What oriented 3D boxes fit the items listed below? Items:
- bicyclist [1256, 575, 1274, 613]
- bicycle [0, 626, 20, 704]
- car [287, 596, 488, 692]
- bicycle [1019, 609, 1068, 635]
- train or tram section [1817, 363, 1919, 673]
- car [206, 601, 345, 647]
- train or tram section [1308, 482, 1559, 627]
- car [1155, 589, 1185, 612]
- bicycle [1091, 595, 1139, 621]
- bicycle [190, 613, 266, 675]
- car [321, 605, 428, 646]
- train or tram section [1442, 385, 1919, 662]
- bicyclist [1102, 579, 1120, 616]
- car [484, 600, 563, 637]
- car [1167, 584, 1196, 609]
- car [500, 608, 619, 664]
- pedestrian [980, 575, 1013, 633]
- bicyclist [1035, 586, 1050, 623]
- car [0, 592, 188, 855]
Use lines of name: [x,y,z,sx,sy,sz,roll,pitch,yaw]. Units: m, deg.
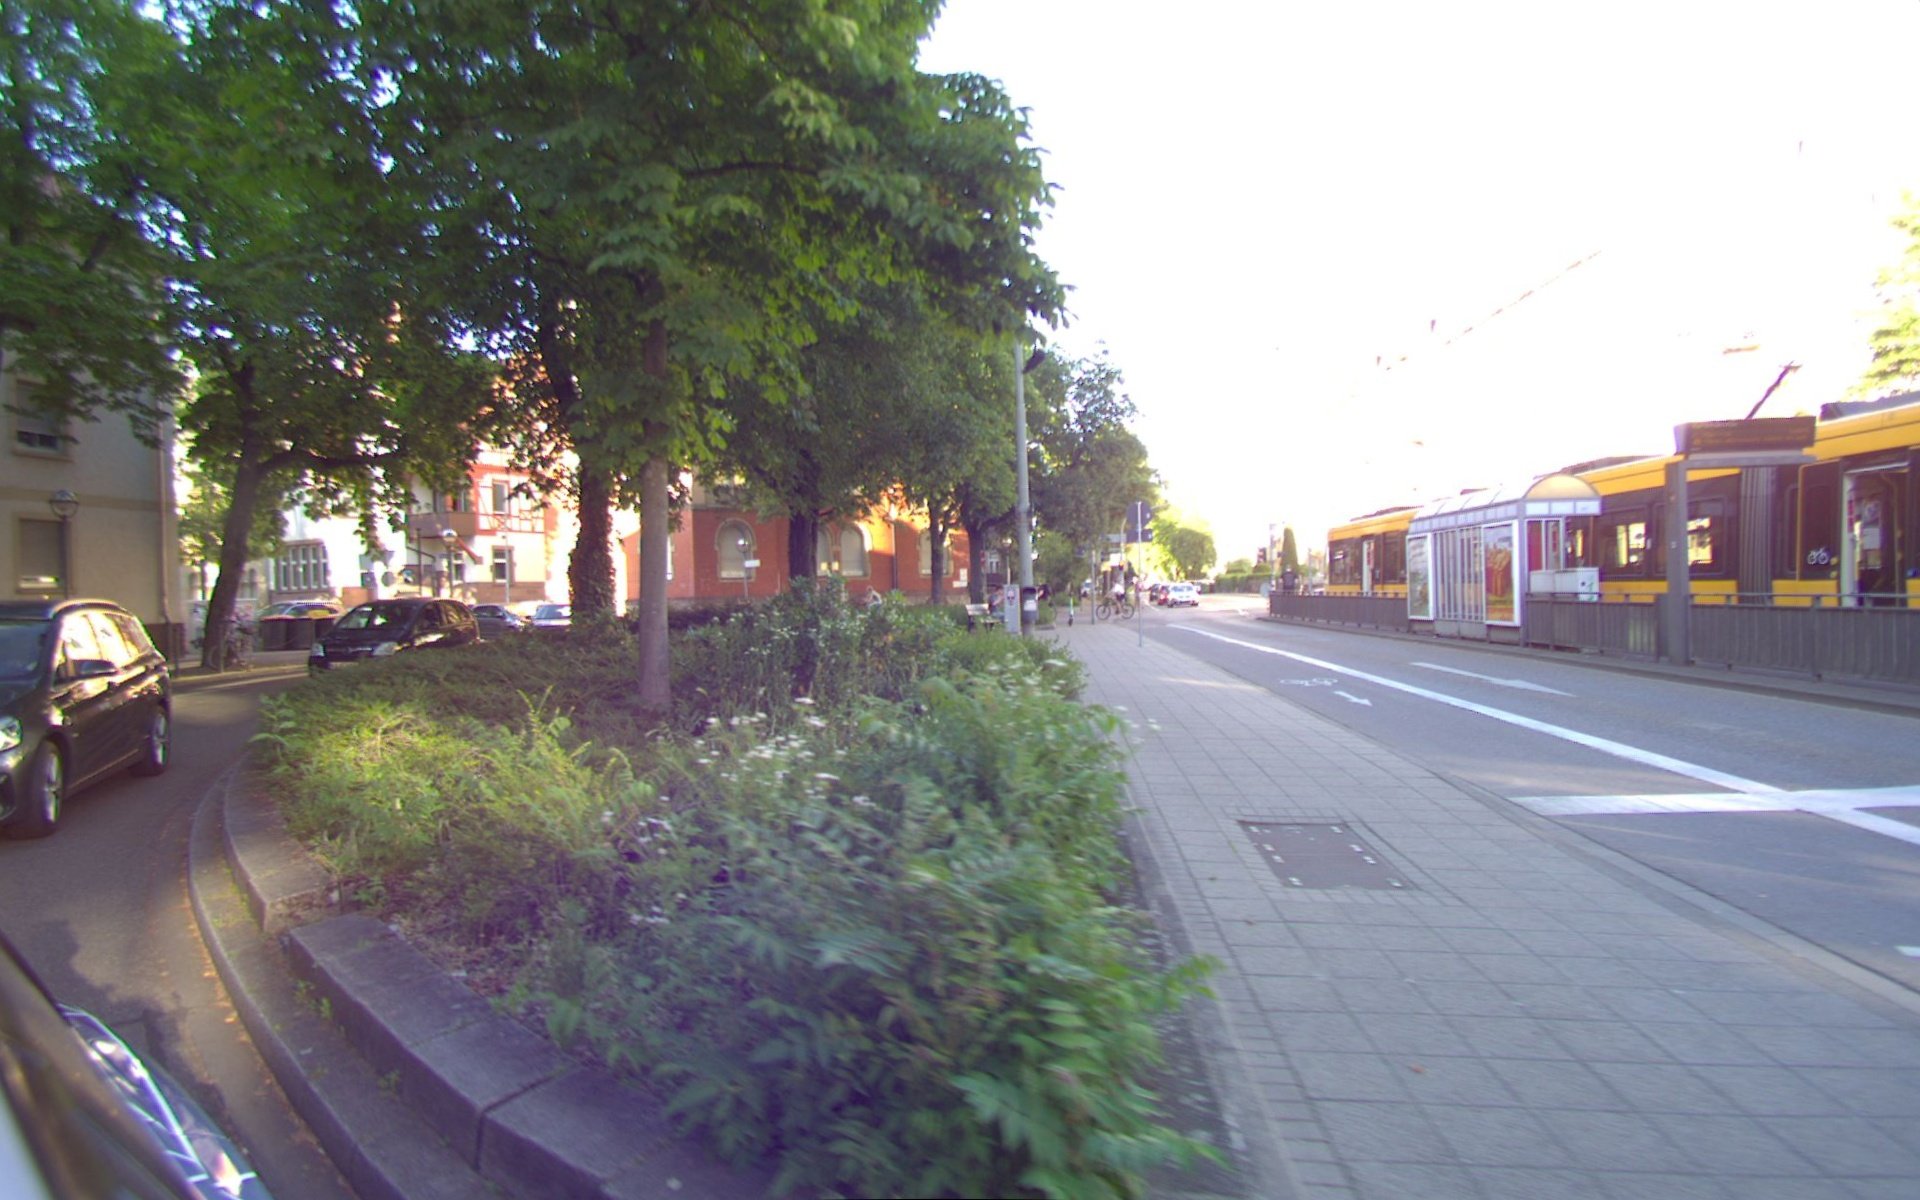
bicyclist: [12.833,-0.261,42.574,0.591,1.585,0.554,-2,0,7]
bicycle: [-15.479,1.046,15.528,0.707,1.232,1.920,-1,0,-15]
car: [-10.751,0.749,19.324,1.658,1.640,3.686,-1,0,2]
bicycle: [3.540,0.939,43.176,1.950,1.065,0.639,-2,0,-9]
train or tram section: [12.387,-0.965,7.439,2.765,3.647,11.785,-2,0,4]
car: [-24.165,0.806,35.861,1.665,1.436,3.775,-2,0,23]
train or tram section: [14.189,-1.206,32.026,2.738,3.584,12.665,-2,0,4]
car: [14.826,0.035,71.565,1.716,1.427,3.991,-2,2,8]
bicycle: [6.828,0.348,44.677,1.949,1.065,0.640,-2,0,-12]
bicycle: [-16.783,0.980,23.263,0.755,1.314,1.908,-1,0,-15]
car: [-24.095,1.058,41.650,4.163,1.564,1.790,-2,0,26]
train or tram section: [13.267,-1.087,19.510,2.751,3.614,12.404,-2,0,4]
bicyclist: [6.656,-0.113,44.639,0.546,1.585,0.599,-2,0,-13]
car: [-19.266,0.811,44.706,3.197,1.551,1.480,-1,0,26]
car: [13.864,-0.223,63.457,1.719,1.428,3.985,-2,0,12]
car: [-11.249,0.970,28.677,1.660,1.419,3.681,0,0,6]
pedestrian: [0.938,0.103,25.891,0.703,1.454,0.598,-2,1,11]
bicyclist: [3.511,0.196,43.162,0.493,1.585,0.496,-2,0,-9]
car: [-7.419,0.767,7.513,1.763,1.590,4.275,-1,0,-25]
